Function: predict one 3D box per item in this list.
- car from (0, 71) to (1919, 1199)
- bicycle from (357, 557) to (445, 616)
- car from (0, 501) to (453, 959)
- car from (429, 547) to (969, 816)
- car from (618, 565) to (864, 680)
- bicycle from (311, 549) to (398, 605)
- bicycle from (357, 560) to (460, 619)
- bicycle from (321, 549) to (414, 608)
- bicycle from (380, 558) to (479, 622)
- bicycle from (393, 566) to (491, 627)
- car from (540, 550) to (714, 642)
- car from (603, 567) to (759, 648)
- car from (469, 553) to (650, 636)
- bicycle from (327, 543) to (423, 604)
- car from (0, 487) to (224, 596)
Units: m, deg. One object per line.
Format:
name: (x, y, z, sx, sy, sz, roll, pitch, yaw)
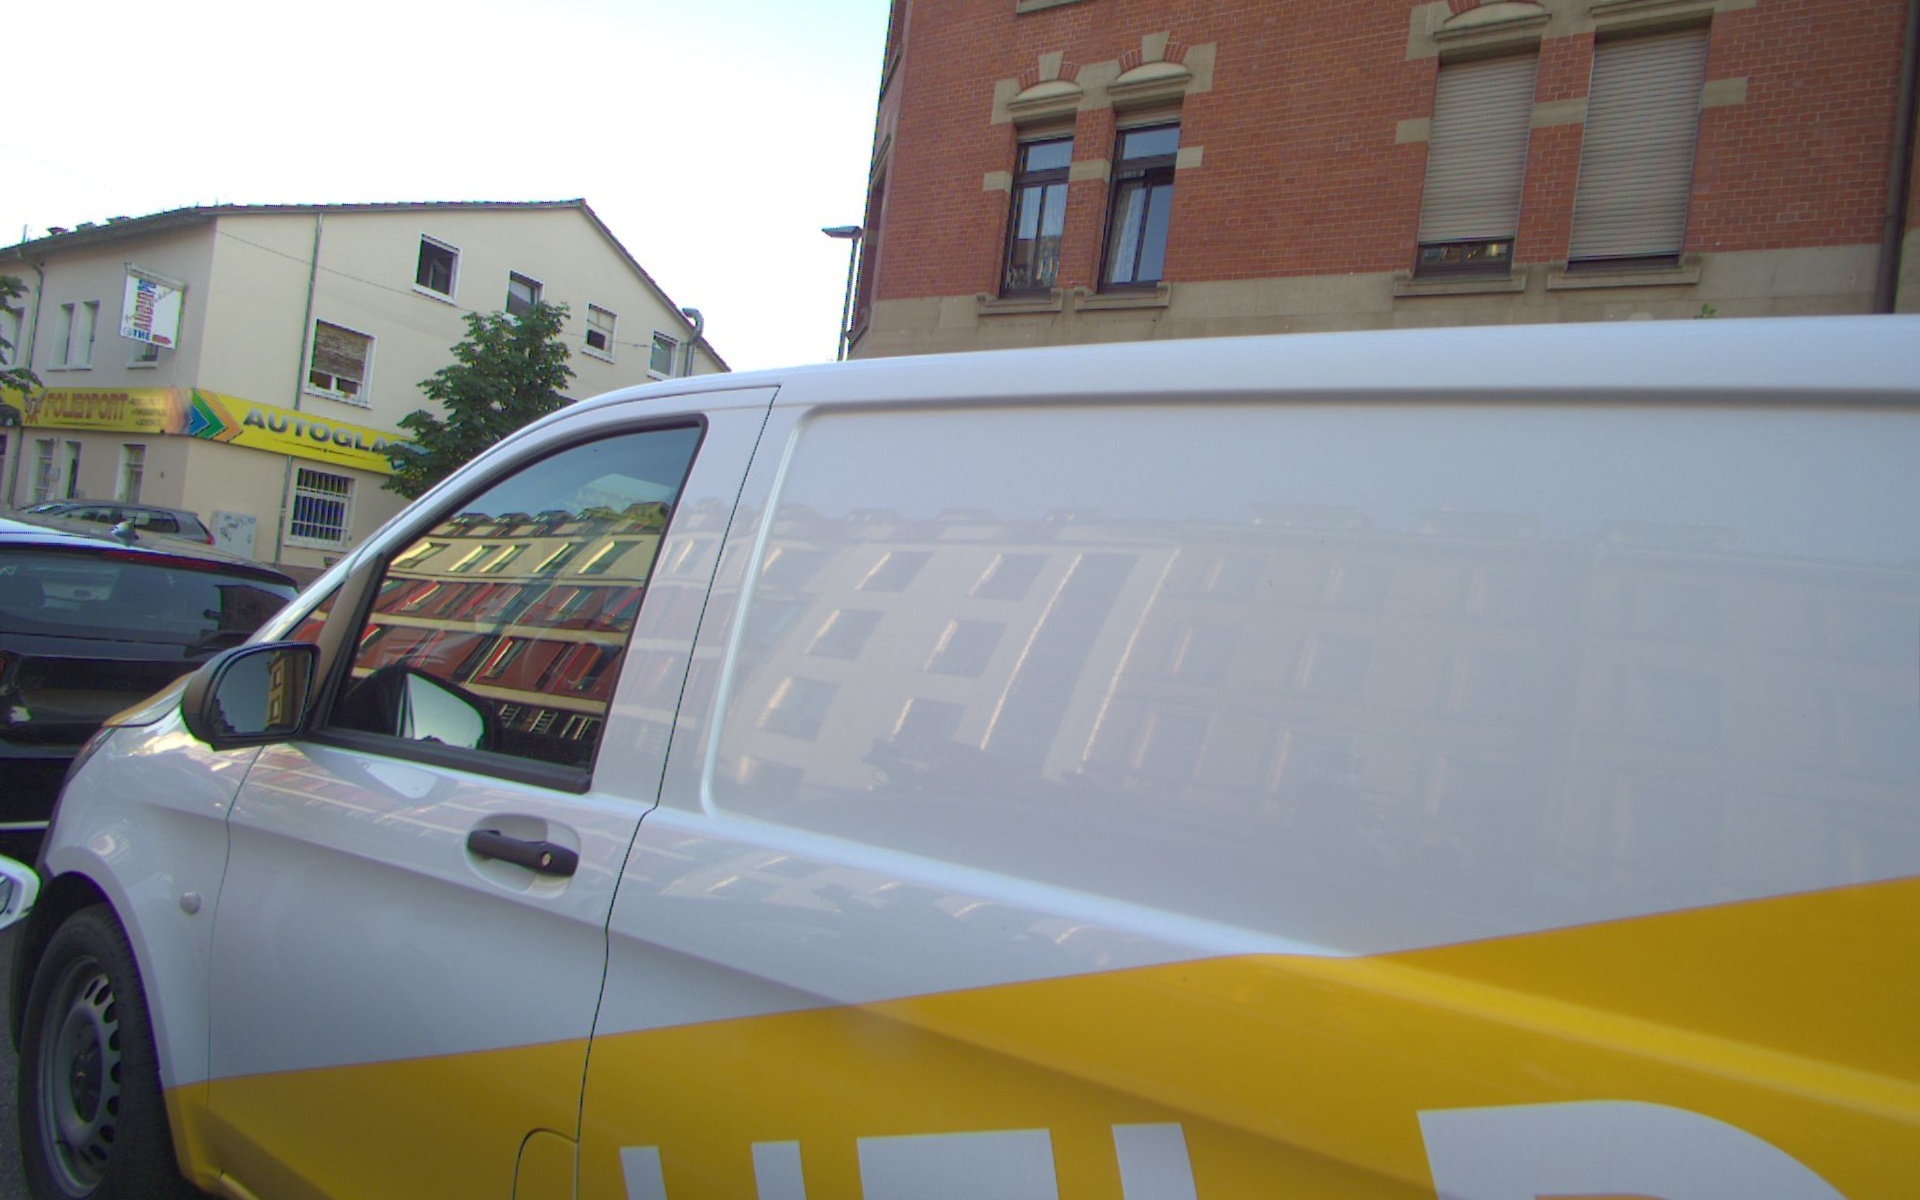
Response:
car: (0.109, 0.571, 2.019, 4.996, 1.906, 1.897, 7, -1, 30)
bicycle: (-12.242, -0.280, 22.077, 0.338, 1.053, 1.605, 10, 0, 32)
car: (-4.514, 0.264, 4.705, 4.182, 1.440, 1.725, 7, -2, 31)
car: (-2.294, 0.532, 8.477, 4.348, 1.442, 1.728, 7, 1, 30)
car: (-3.787, 0.492, 18.218, 1.847, 1.692, 4.327, 5, -2, 29)
bicycle: (-13.639, -0.505, 22.706, 0.338, 1.031, 1.606, 10, 0, 30)
bicycle: (-11.867, -0.209, 21.702, 0.421, 1.022, 1.853, 10, -1, 32)
bicycle: (-13.296, -0.468, 22.615, 0.338, 1.082, 1.735, 10, 0, 30)
bicycle: (-11.274, -0.191, 21.462, 0.420, 1.141, 1.925, 8, -1, 23)
bicycle: (-10.908, -0.047, 21.251, 0.420, 1.087, 1.856, 10, -1, 23)
car: (-9.206, -0.123, 27.719, 4.499, 1.854, 1.876, 8, 0, 30)
car: (-8.296, 0.209, 29.845, 4.260, 1.924, 1.876, 5, -1, 30)
car: (-10.280, -0.153, 25.751, 4.494, 1.528, 1.744, 7, 0, 29)
bicycle: (-13.697, -0.590, 23.594, 0.338, 1.162, 1.864, 10, 0, 32)
car: (-16.073, -1.088, 18.173, 1.727, 1.533, 4.054, 9, 1, 32)
